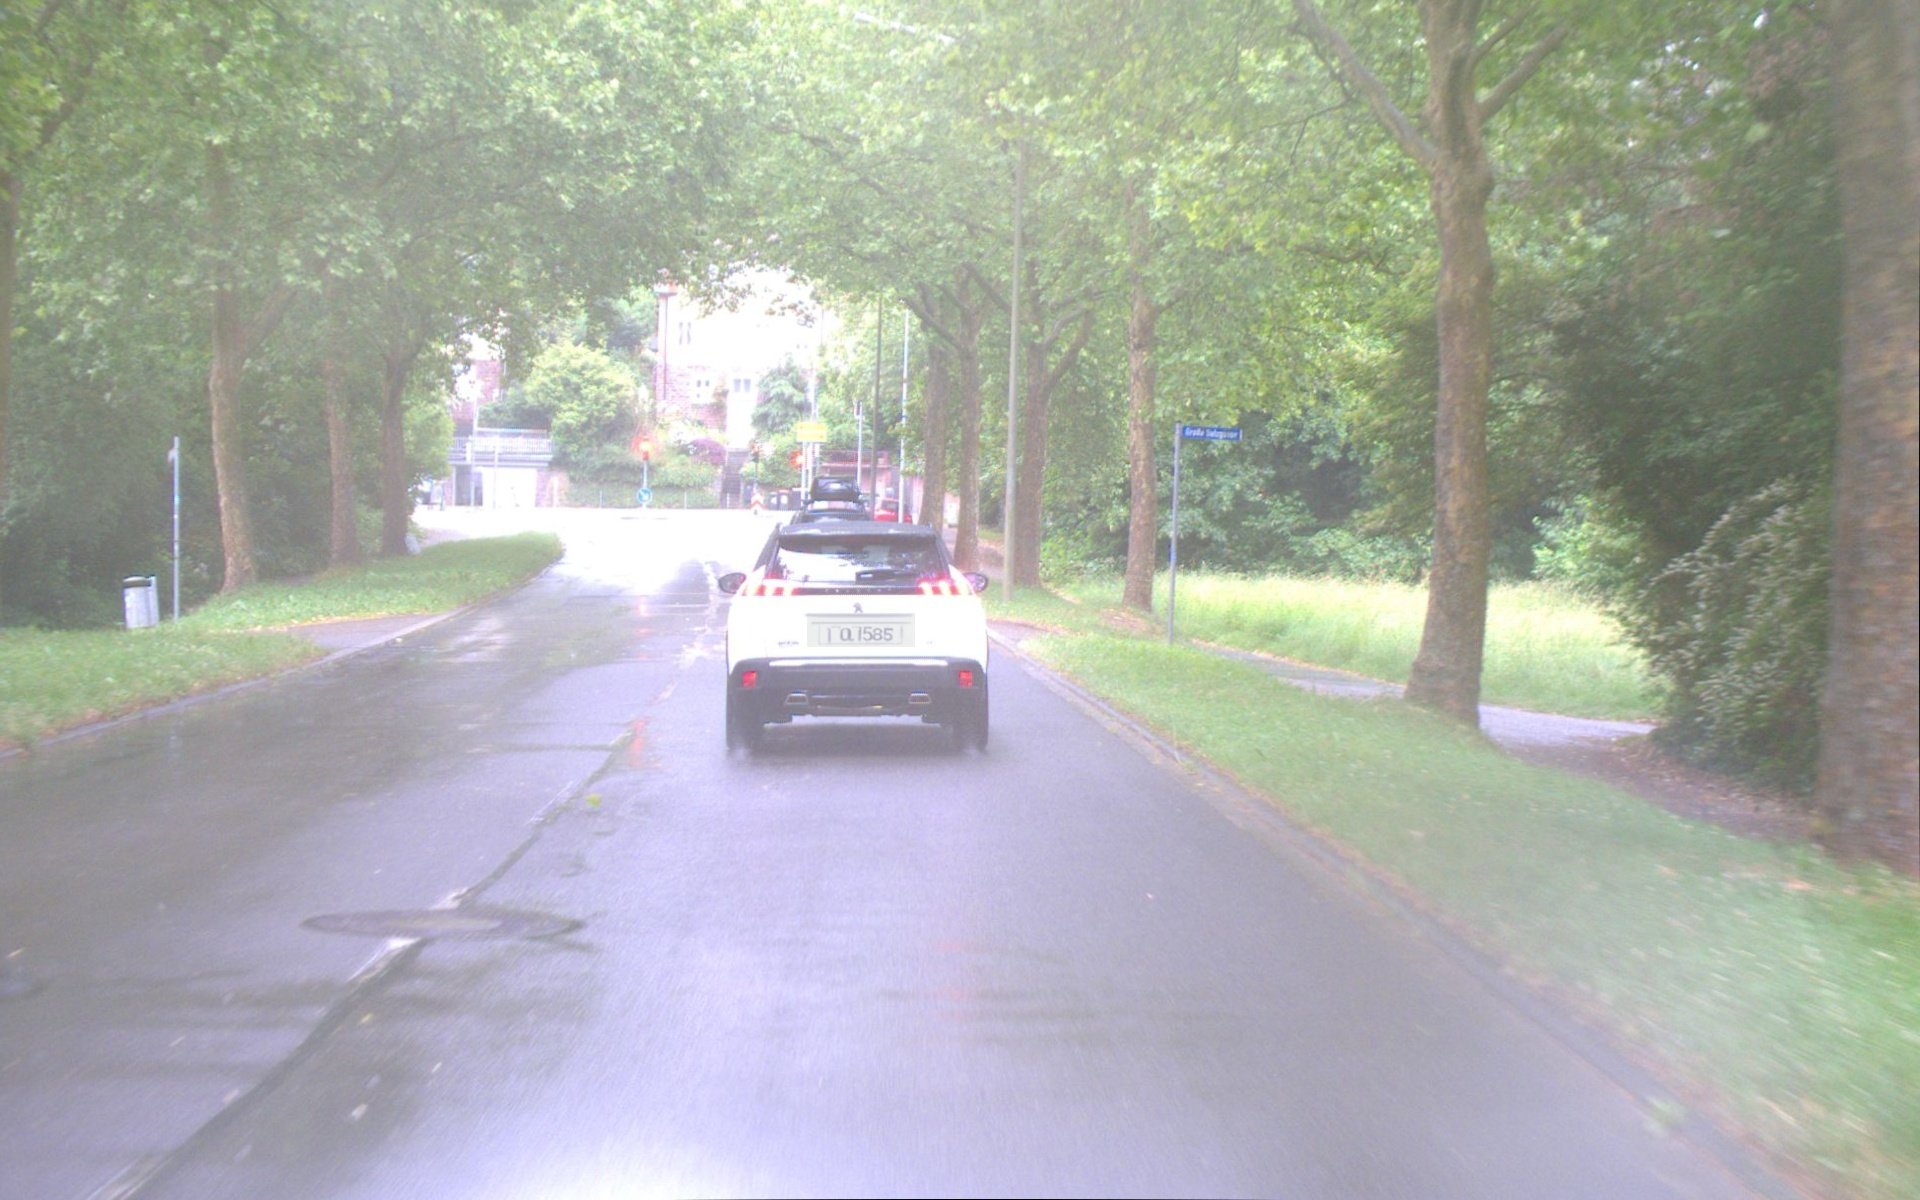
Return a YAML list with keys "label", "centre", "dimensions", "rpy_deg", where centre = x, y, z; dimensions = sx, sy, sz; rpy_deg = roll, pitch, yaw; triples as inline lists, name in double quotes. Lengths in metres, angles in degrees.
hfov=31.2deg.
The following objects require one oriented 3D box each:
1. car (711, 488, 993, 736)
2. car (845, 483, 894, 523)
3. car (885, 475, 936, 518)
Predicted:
- label: "car"
  centre: [-0.698, 0.020, 24.226]
  dimensions: [1.794, 1.573, 3.844]
  rpy_deg: [1, 2, 0]
- label: "car"
  centre: [-3.761, -4.036, 143.334]
  dimensions: [1.827, 1.590, 3.654]
  rpy_deg: [1, 1, 2]
- label: "car"
  centre: [-1.913, -4.001, 133.709]
  dimensions: [1.827, 1.590, 3.654]
  rpy_deg: [1, 1, 2]
